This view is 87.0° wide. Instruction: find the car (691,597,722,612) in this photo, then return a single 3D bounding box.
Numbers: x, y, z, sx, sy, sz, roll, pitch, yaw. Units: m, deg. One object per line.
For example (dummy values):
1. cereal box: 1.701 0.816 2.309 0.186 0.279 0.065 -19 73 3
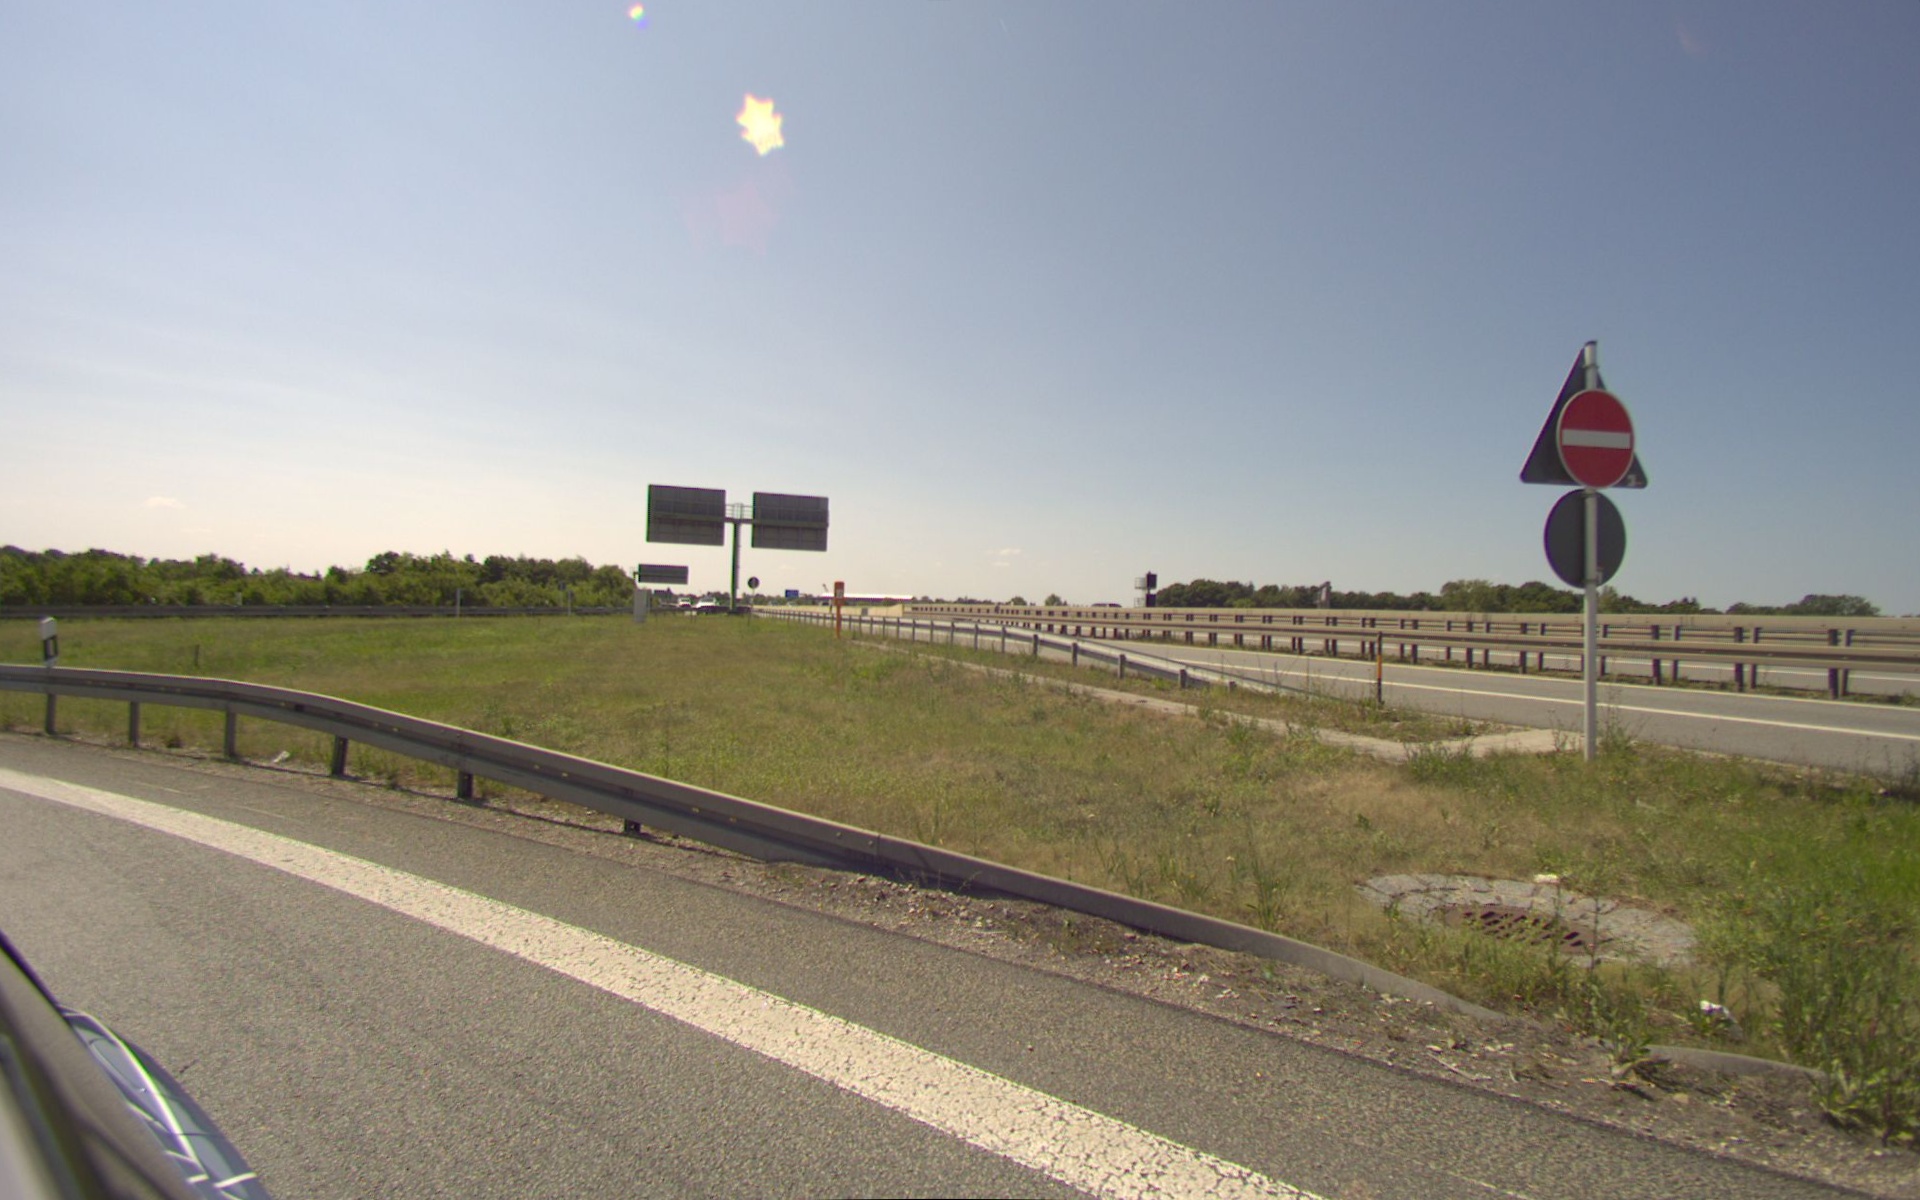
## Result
1. car: -26.258 0.421 104.985 1.974 1.519 4.295 0 0 3
